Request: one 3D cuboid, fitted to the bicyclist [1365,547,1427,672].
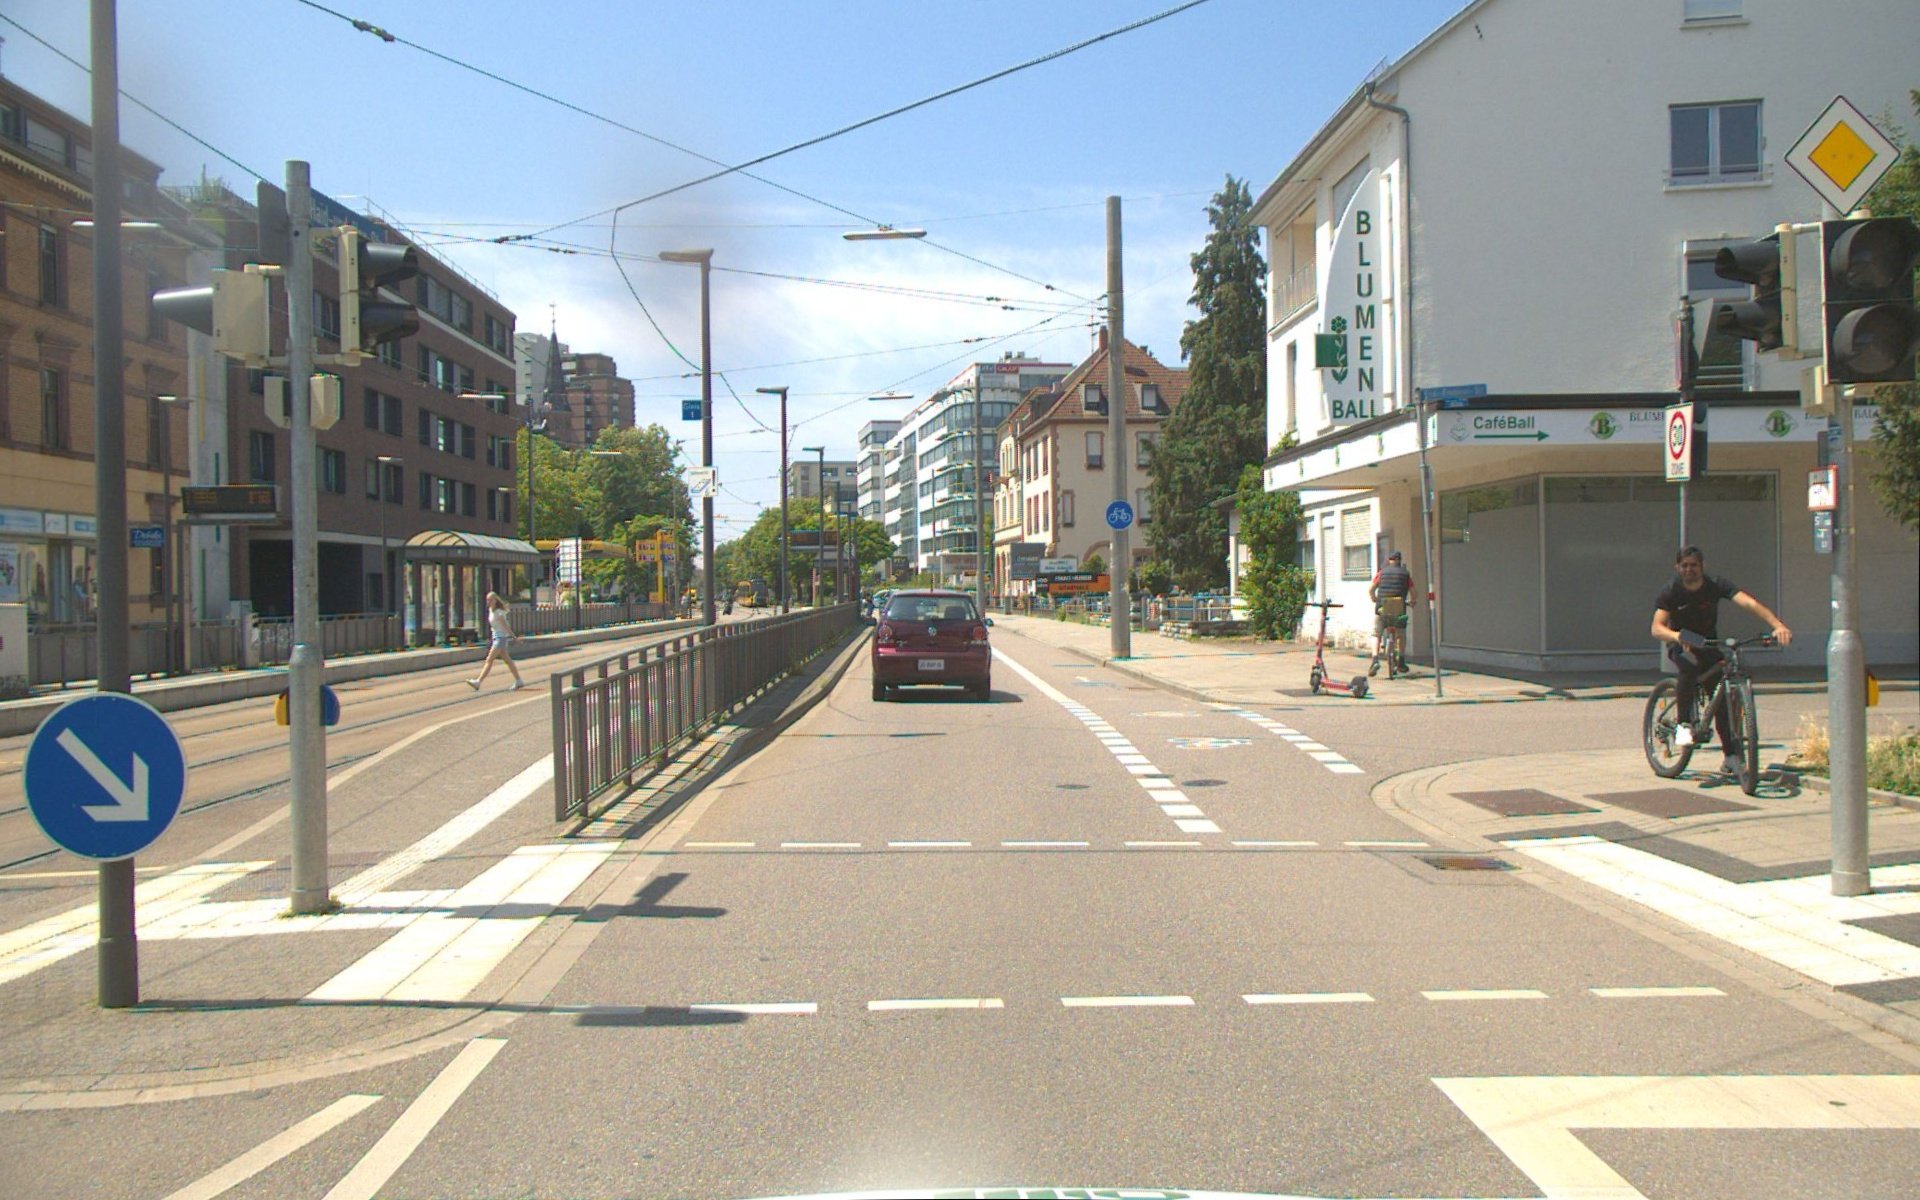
[{"bbox_3d":[6.380,0.133,24.170,0.712,1.791,0.924,-1,1,23],"label":"bicyclist"}]

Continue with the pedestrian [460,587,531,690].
[{"bbox_3d":[-7.870,0.641,28.080,1.078,1.704,0.763,-1,0,-13],"label":"pedestrian"}]

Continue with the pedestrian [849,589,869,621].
[{"bbox_3d":[-6.080,0.312,99.701,1.146,1.868,0.791,-2,0,-5],"label":"pedestrian"}]

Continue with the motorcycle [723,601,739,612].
[{"bbox_3d":[-18.652,0.519,134.774,0.853,0.820,1.911,-1,1,6],"label":"motorcycle"}]

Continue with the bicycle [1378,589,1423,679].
[{"bbox_3d":[6.391,0.475,23.973,0.368,1.218,1.905,-1,1,22],"label":"bicycle"}]

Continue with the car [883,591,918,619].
[{"bbox_3d":[-3.688,0.287,101.513,1.954,1.653,4.627,-2,0,-4],"label":"car"}]

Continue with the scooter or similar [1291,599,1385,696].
[{"bbox_3d":[4.840,0.597,21.267,0.335,1.198,1.456,-1,0,-25],"label":"scooter or similar"}]

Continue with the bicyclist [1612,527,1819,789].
[{"bbox_3d":[5.159,0.379,11.337,0.819,1.646,0.856,-5,0,-15],"label":"bicyclist"}]

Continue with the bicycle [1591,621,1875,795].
[{"bbox_3d":[5.215,0.690,11.302,0.657,1.019,1.856,-6,1,-14],"label":"bicycle"}]

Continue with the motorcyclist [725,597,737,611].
[{"bbox_3d":[-18.645,0.333,134.762,0.831,1.159,0.635,-1,0,6],"label":"motorcyclist"}]

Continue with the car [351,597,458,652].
[{"bbox_3d":[-17.342,0.735,51.831,1.952,1.534,4.000,-2,1,0],"label":"car"}]

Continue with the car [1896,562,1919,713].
[{"bbox_3d":[11.476,0.362,15.803,4.142,1.456,1.710,-1,3,-3],"label":"car"}]

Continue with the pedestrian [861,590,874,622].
[{"bbox_3d":[-5.507,0.344,98.404,0.730,1.868,0.791,-2,0,-5],"label":"pedestrian"}]

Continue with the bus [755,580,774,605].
[{"bbox_3d":[-24.359,-0.940,206.044,2.105,3.055,6.559,-1,0,-9],"label":"bus"}]

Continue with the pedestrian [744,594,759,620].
[{"bbox_3d":[-16.663,0.550,132.140,1.087,2.049,1.038,-1,0,-1],"label":"pedestrian"}]

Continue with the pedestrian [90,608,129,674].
[{"bbox_3d":[-21.072,1.007,41.002,0.602,1.588,0.640,-2,0,-3],"label":"pedestrian"}]

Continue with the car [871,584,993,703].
[{"bbox_3d":[-0.424,0.550,22.796,1.530,1.479,3.060,-1,0,-3],"label":"car"}]
